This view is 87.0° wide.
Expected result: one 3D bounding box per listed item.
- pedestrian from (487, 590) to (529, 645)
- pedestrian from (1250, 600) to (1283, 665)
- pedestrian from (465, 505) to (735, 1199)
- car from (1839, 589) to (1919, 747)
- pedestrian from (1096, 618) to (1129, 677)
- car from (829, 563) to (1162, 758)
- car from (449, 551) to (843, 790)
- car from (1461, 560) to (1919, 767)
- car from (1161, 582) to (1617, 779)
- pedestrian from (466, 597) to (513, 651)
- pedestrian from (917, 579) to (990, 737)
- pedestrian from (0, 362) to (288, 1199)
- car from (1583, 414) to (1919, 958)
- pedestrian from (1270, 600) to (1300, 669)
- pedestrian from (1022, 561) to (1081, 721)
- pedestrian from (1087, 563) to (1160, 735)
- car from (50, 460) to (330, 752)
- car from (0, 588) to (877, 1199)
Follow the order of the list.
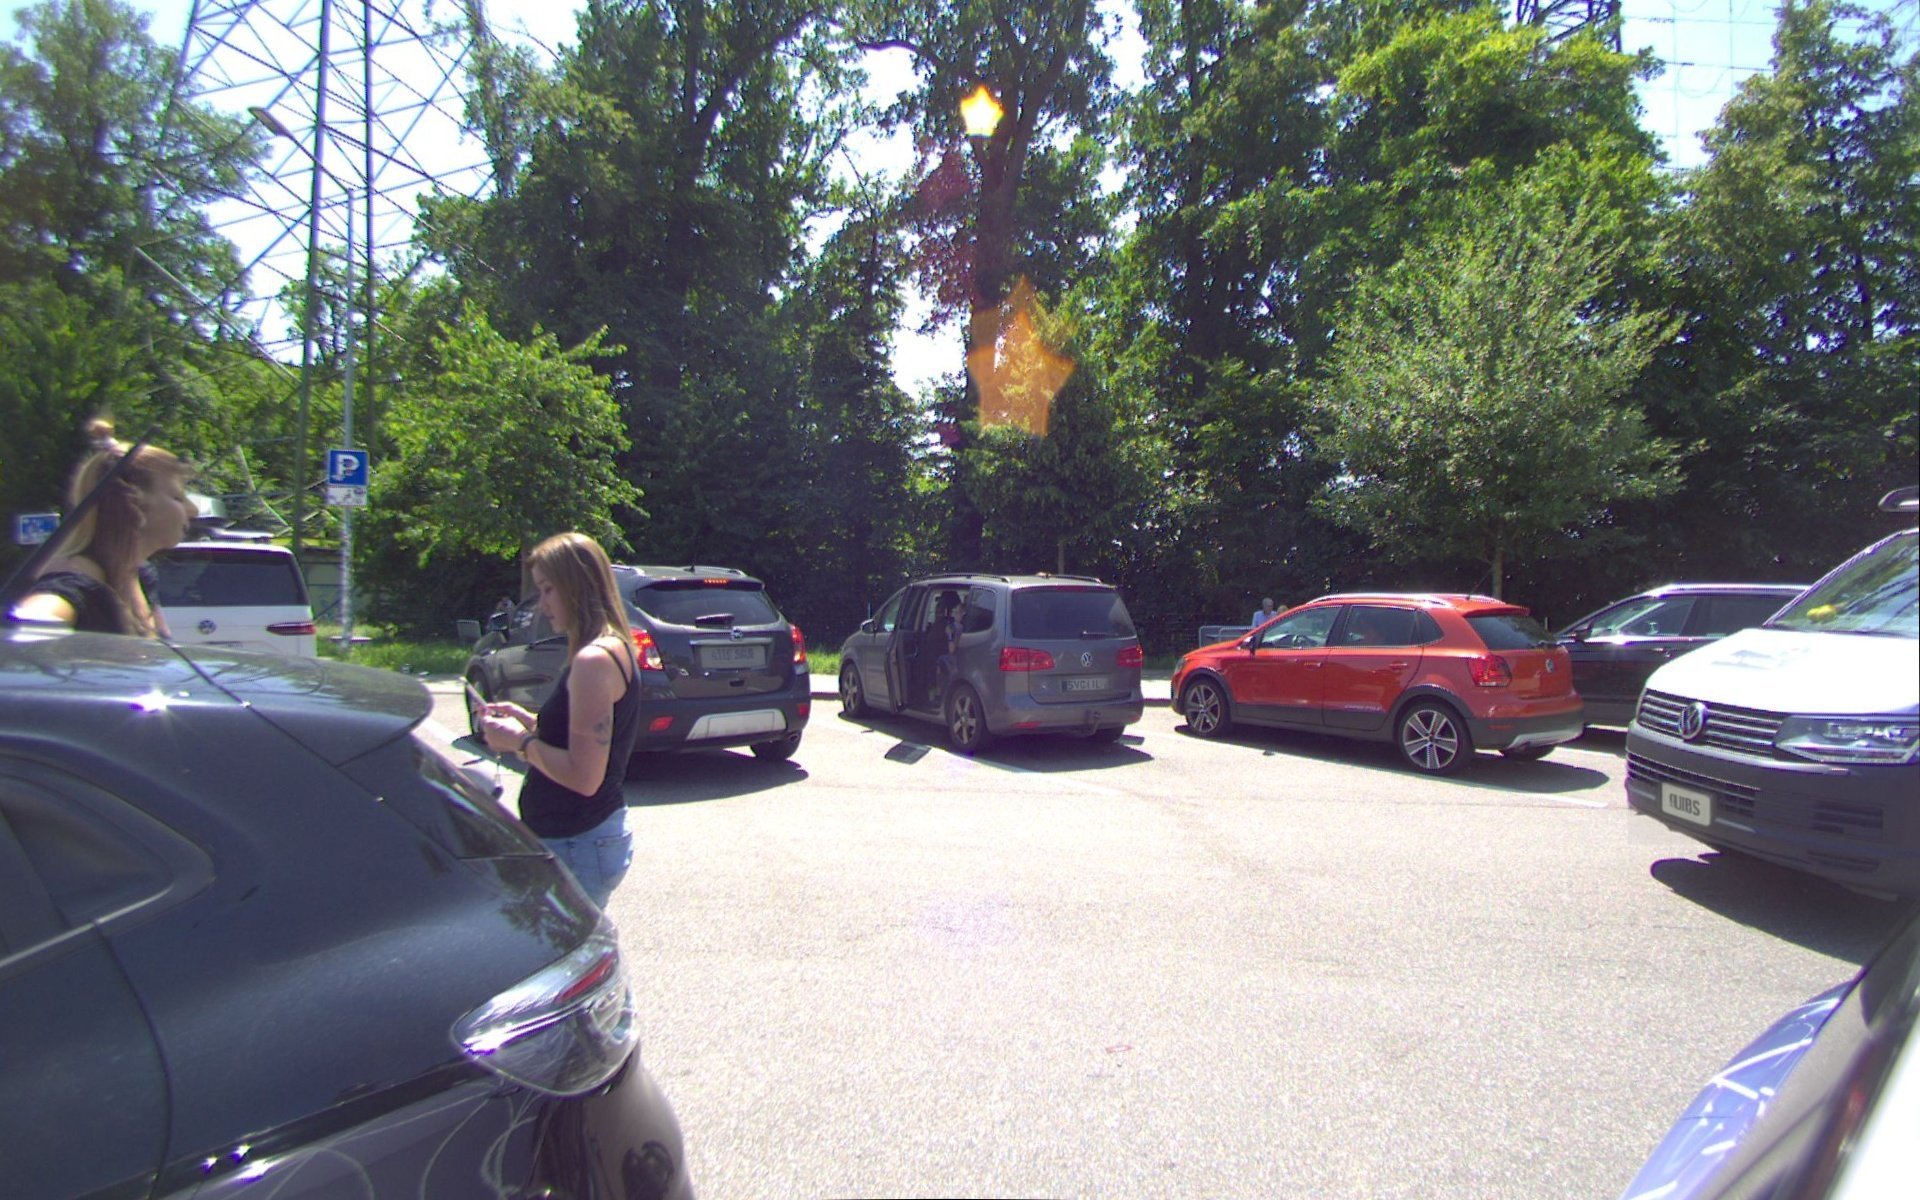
[{"bbox_3d":[-10.937,0.410,24.500,0.539,1.318,0.758,0,0,37],"label":"pedestrian"},{"bbox_3d":[5.781,0.601,19.075,0.433,1.207,0.414,0,0,-30],"label":"pedestrian"},{"bbox_3d":[-0.933,0.594,2.619,0.477,1.614,0.502,1,-1,-44],"label":"pedestrian"},{"bbox_3d":[10.438,0.656,8.916,1.813,1.473,3.776,1,0,-36],"label":"car"},{"bbox_3d":[2.383,0.729,15.779,0.494,0.890,0.512,0,0,10],"label":"pedestrian"},{"bbox_3d":[0.163,0.496,10.598,1.670,1.637,3.912,0,0,-30],"label":"car"},{"bbox_3d":[-3.003,0.479,9.095,1.807,1.637,4.159,1,0,-42],"label":"car"},{"bbox_3d":[7.170,0.499,9.752,1.679,1.637,3.863,1,0,-40],"label":"car"},{"bbox_3d":[3.849,0.609,9.651,1.588,1.485,3.751,1,0,-34],"label":"car"},{"bbox_3d":[-10.588,0.521,22.760,0.785,1.178,0.696,0,0,39],"label":"pedestrian"},{"bbox_3d":[-0.069,0.551,10.051,0.511,1.516,0.560,0,0,-30],"label":"pedestrian"},{"bbox_3d":[-1.927,0.483,2.432,0.478,1.883,0.913,1,-1,-33],"label":"pedestrian"},{"bbox_3d":[6.205,0.353,4.697,5.336,2.131,1.842,1,1,4],"label":"car"},{"bbox_3d":[5.767,0.610,17.984,0.348,1.207,0.367,0,0,-20],"label":"pedestrian"},{"bbox_3d":[1.025,0.447,11.344,0.500,1.744,0.438,0,0,-24],"label":"pedestrian"},{"bbox_3d":[1.703,0.495,10.581,0.576,1.744,0.483,0,0,-20],"label":"pedestrian"},{"bbox_3d":[-8.382,0.042,10.807,1.897,2.400,4.963,1,-1,-43],"label":"car"},{"bbox_3d":[-2.009,0.737,0.845,1.776,1.476,3.628,0,0,44],"label":"car"}]
